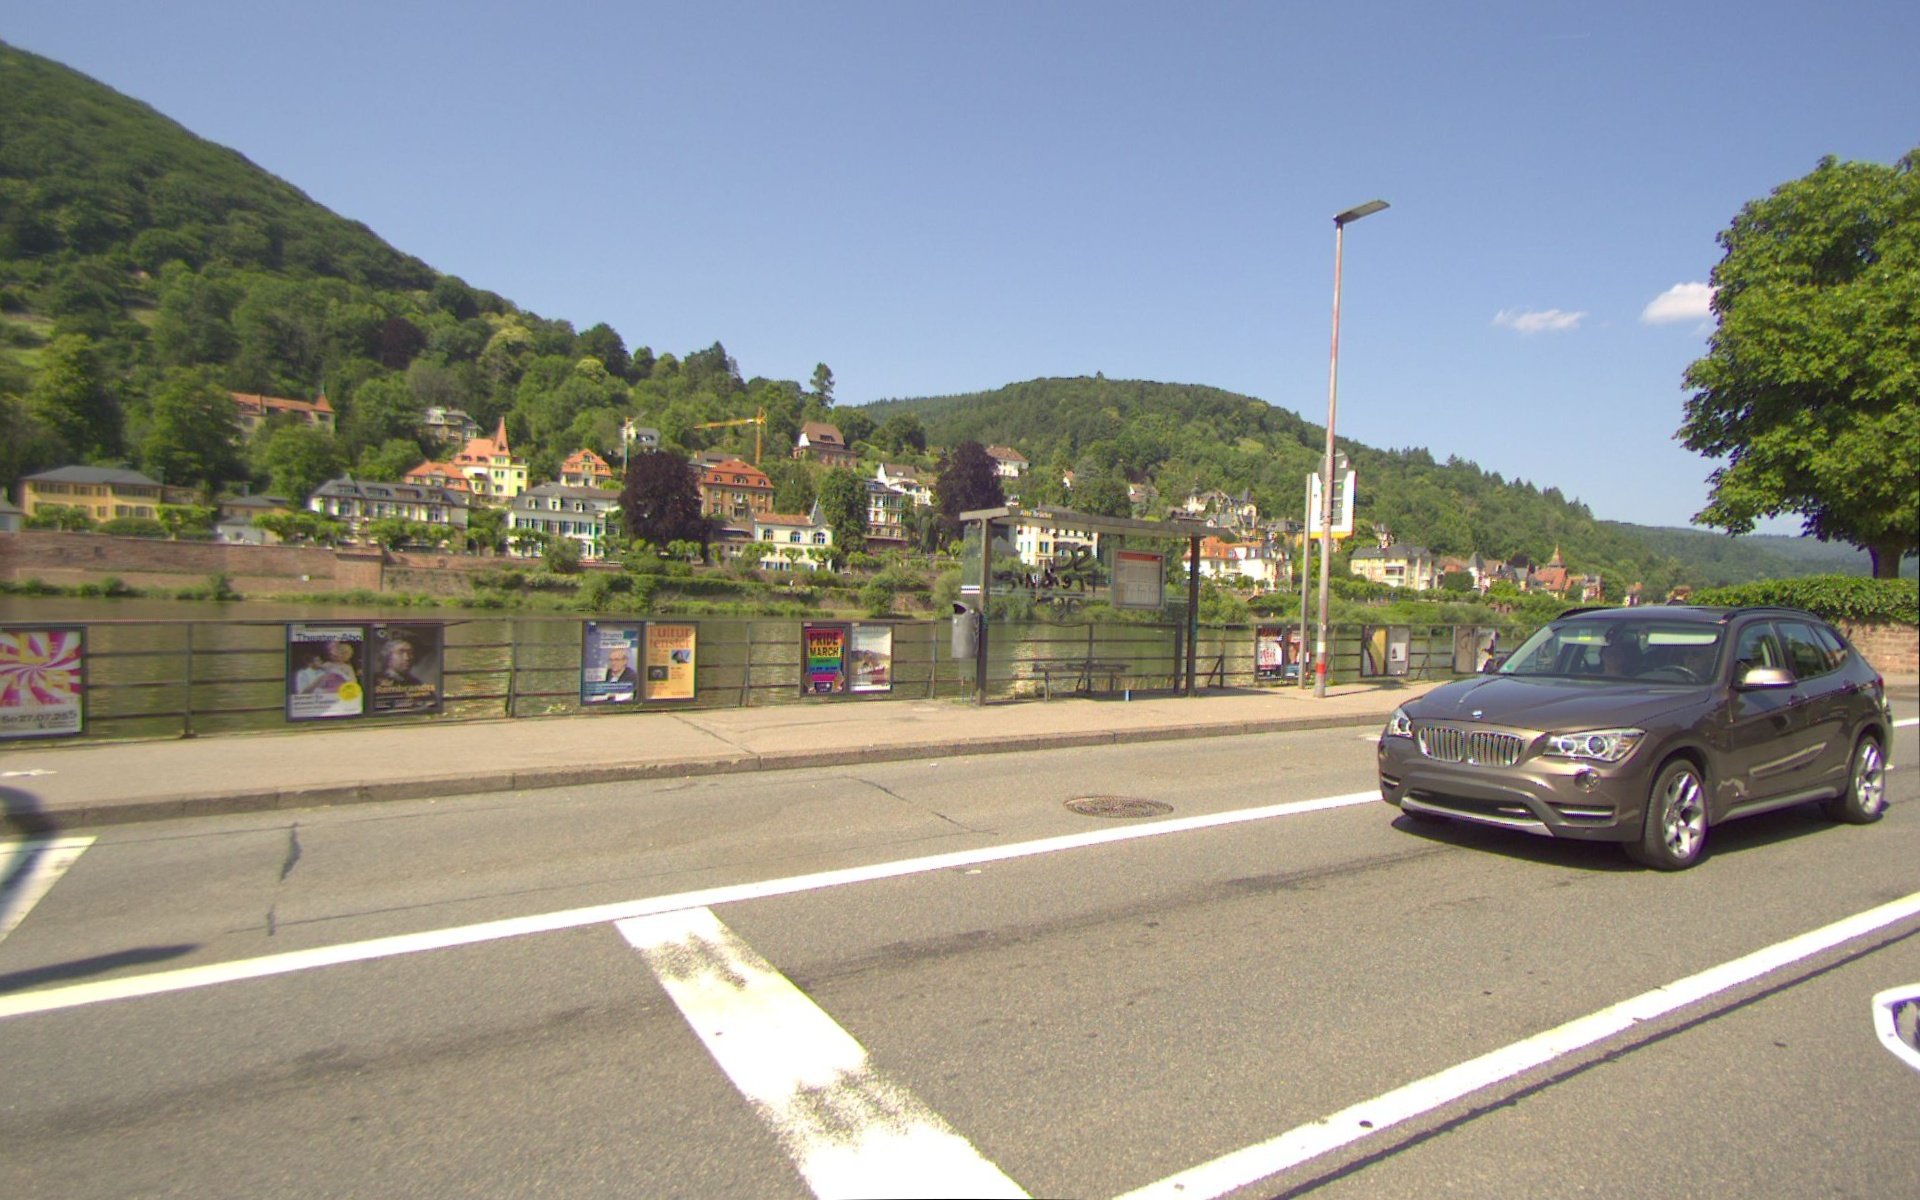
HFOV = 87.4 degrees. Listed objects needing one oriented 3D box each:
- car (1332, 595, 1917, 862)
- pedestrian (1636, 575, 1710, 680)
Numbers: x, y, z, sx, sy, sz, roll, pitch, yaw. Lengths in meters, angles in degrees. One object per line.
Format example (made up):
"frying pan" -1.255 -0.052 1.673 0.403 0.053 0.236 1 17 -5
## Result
"car" 4.844 0.692 7.189 4.295 1.416 1.806 0 0 -30
"pedestrian" 13.711 0.530 19.321 0.997 1.943 0.750 3 -1 -30
